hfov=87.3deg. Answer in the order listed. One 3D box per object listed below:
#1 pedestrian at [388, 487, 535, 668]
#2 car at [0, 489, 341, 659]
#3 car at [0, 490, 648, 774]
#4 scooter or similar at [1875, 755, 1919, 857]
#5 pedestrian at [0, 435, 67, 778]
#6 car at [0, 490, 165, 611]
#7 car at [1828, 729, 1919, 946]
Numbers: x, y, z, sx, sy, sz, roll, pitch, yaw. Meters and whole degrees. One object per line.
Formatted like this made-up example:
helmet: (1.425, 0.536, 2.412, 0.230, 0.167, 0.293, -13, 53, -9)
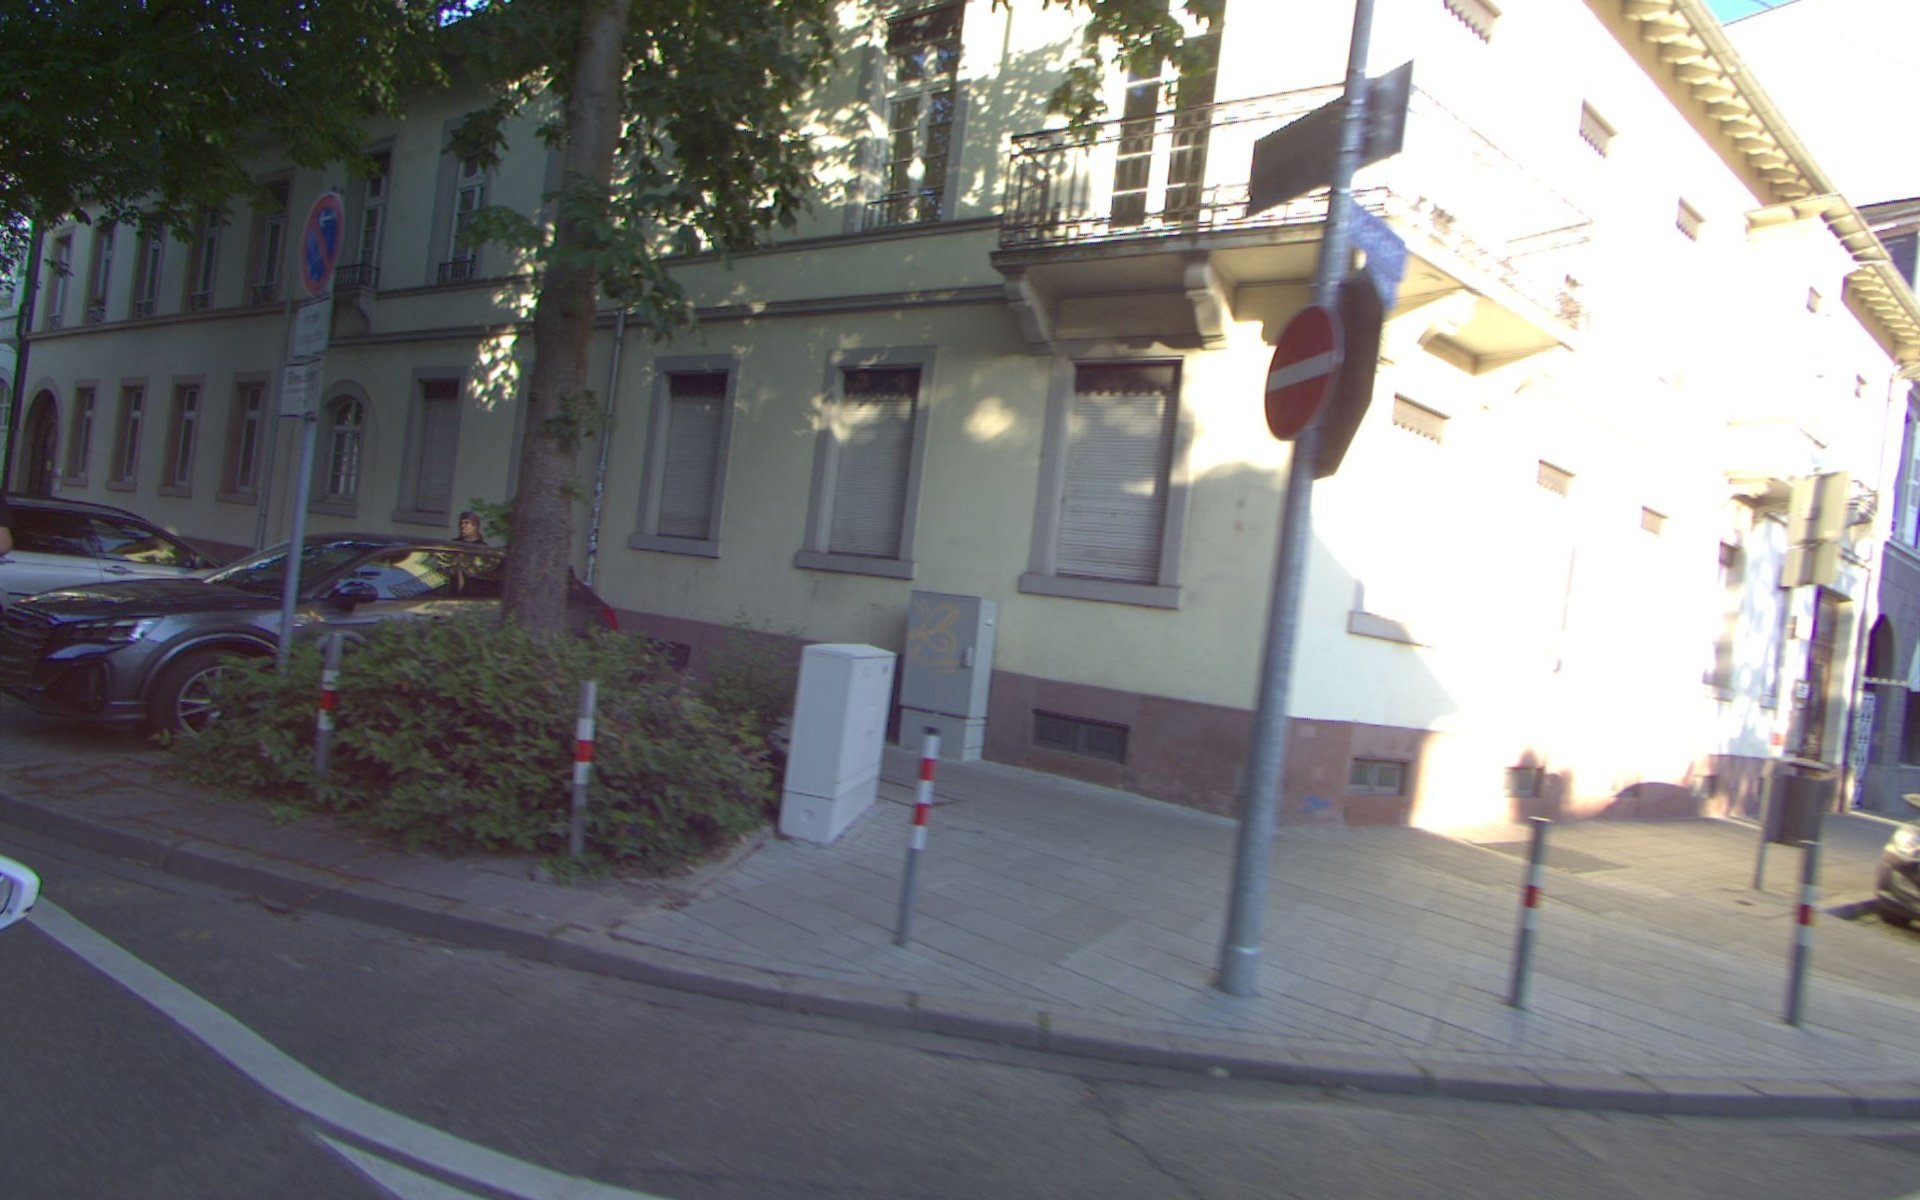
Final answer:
pedestrian: (-5.218, -0.218, 10.555, 0.769, 1.727, 0.944, 9, 1, 34)
car: (-9.015, -0.282, 10.215, 1.821, 1.499, 4.195, 7, 1, 32)
car: (-4.737, 0.177, 7.881, 1.819, 1.511, 4.109, 8, 3, 31)
scooter or similar: (12.643, 2.715, 13.080, 1.171, 1.217, 0.384, 7, 0, -11)
pedestrian: (-5.707, -0.006, 5.619, 0.740, 1.891, 0.794, 7, 0, 37)
car: (-13.782, -0.821, 13.836, 1.751, 1.498, 4.020, 7, 0, 31)
car: (9.474, 2.180, 8.512, 4.380, 1.562, 1.849, 8, 3, -32)
